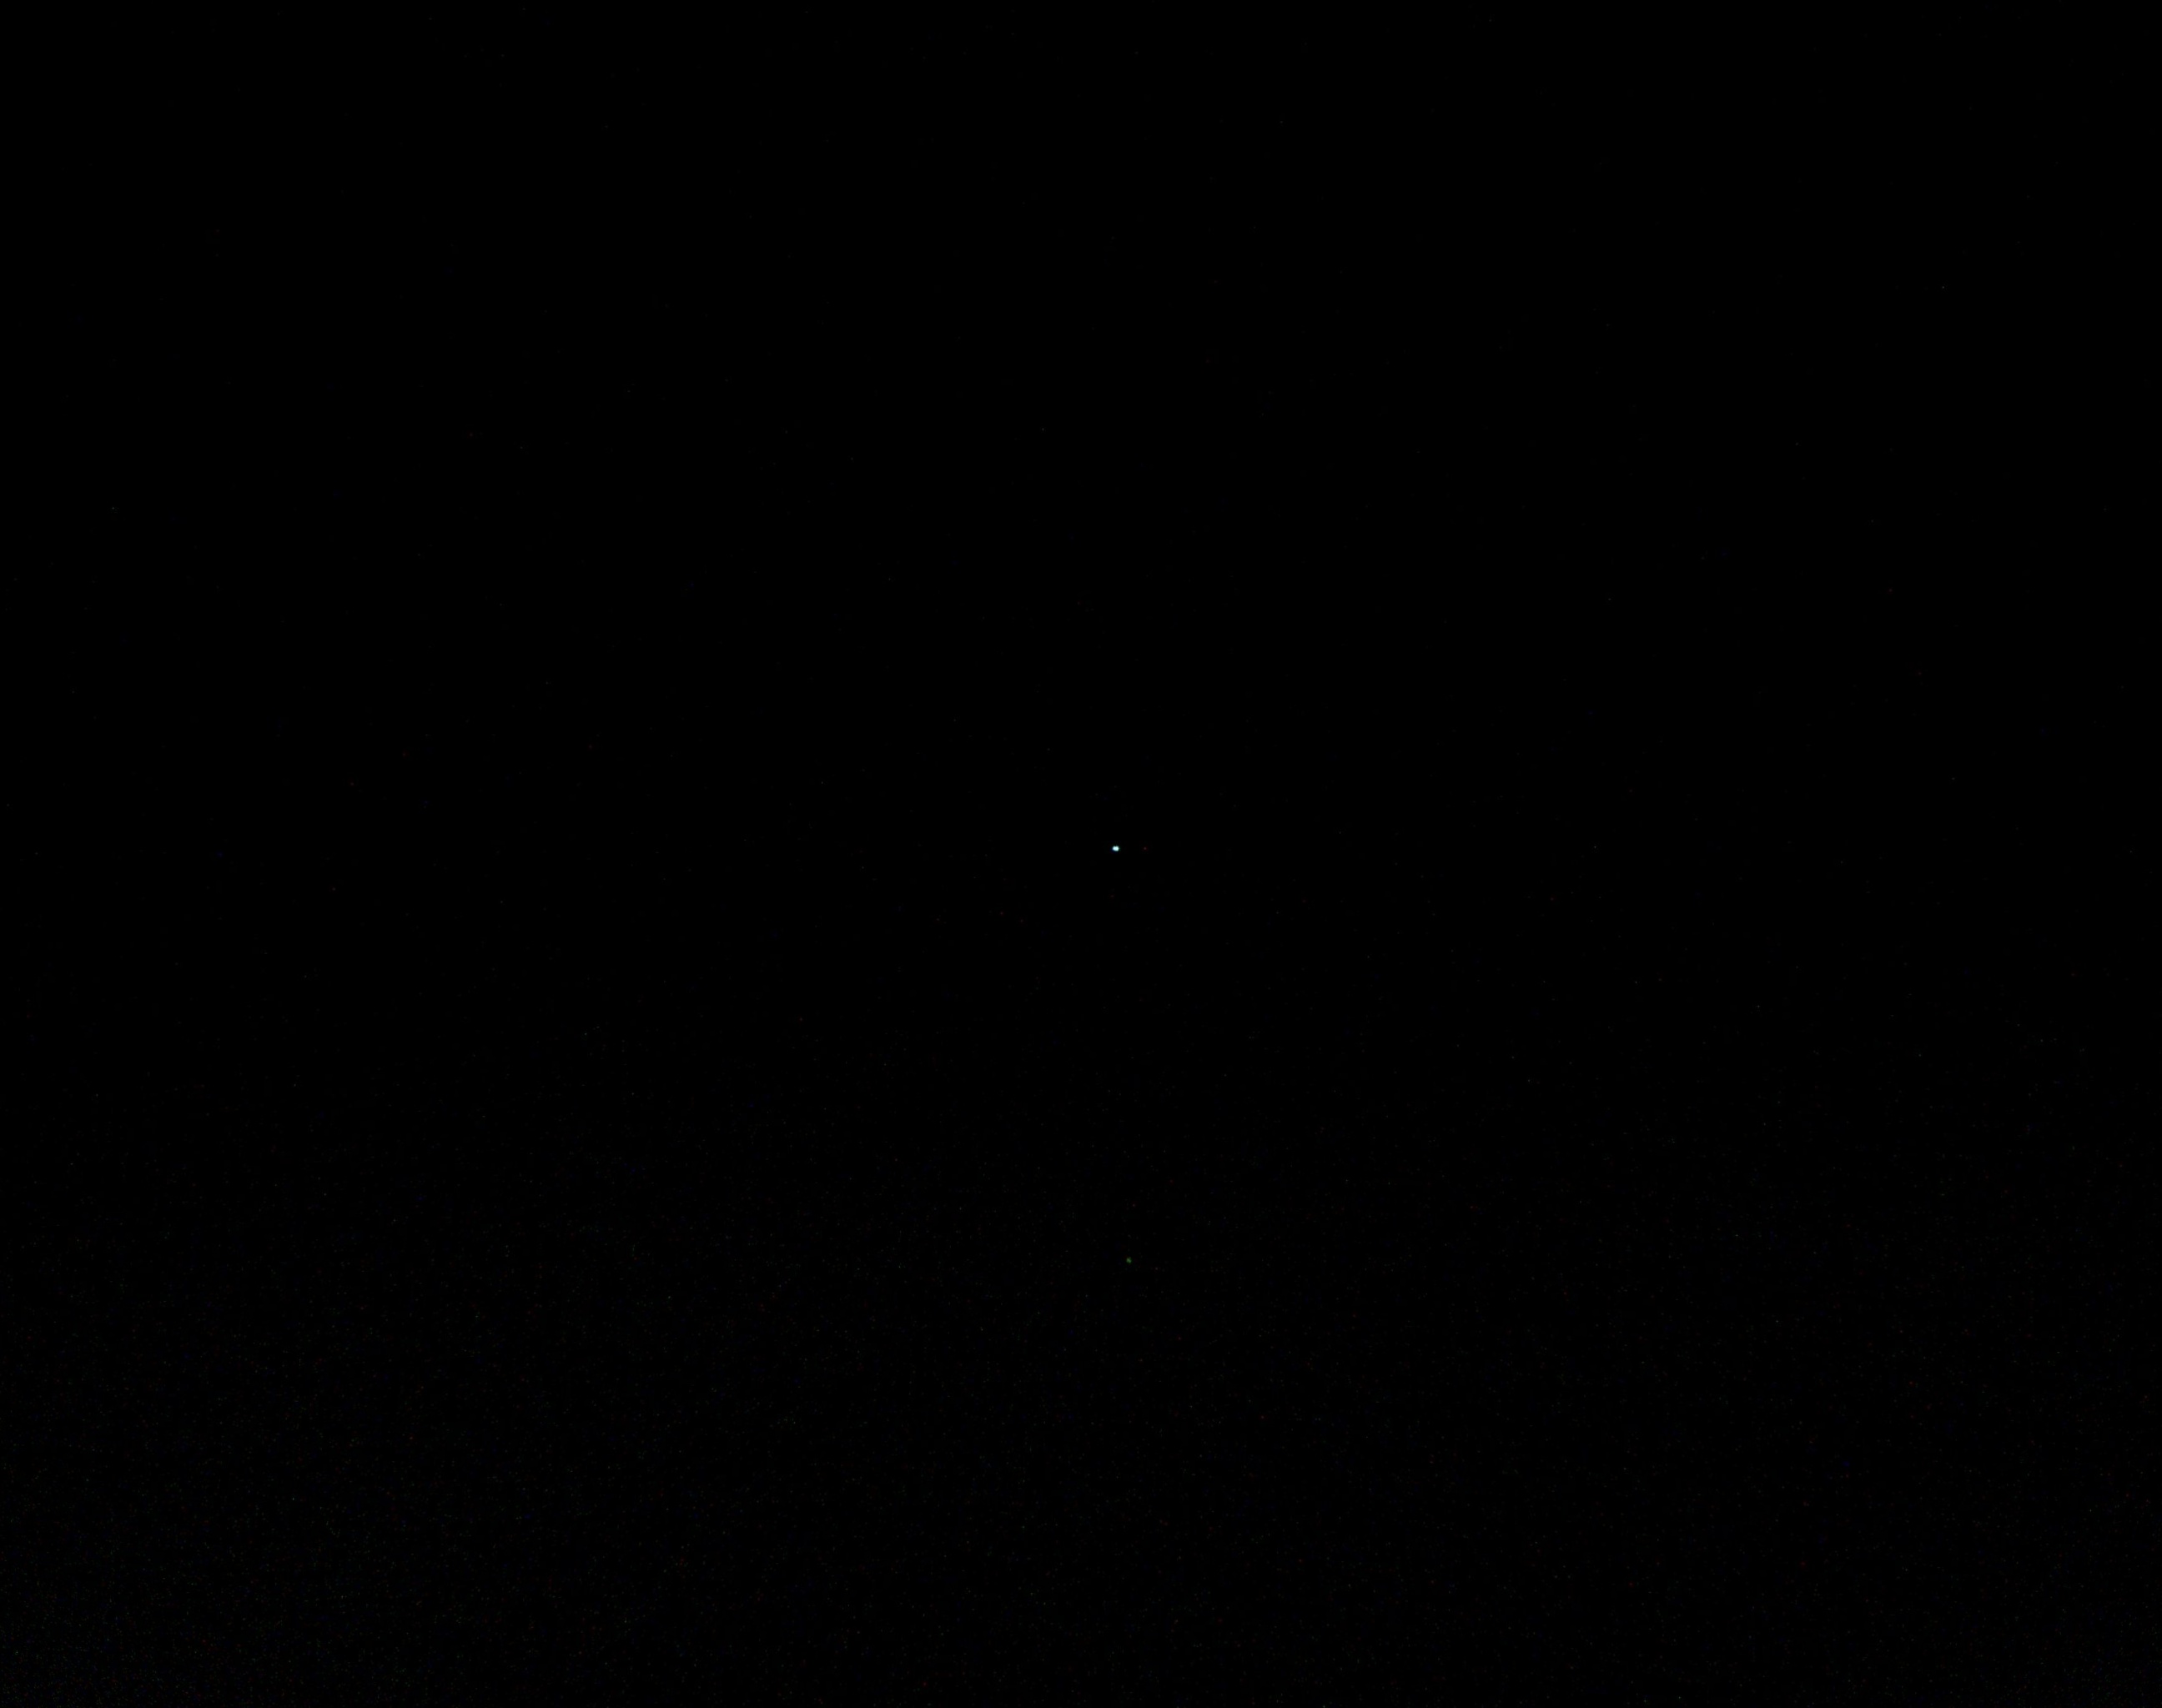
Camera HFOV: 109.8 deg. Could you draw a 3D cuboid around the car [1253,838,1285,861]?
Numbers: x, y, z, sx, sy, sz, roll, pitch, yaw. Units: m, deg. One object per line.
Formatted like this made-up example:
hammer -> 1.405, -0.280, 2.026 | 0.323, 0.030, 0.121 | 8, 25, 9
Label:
car -> 17.882, -0.449, 72.508 | 1.998, 2.002, 4.608 | -2, 1, 1
